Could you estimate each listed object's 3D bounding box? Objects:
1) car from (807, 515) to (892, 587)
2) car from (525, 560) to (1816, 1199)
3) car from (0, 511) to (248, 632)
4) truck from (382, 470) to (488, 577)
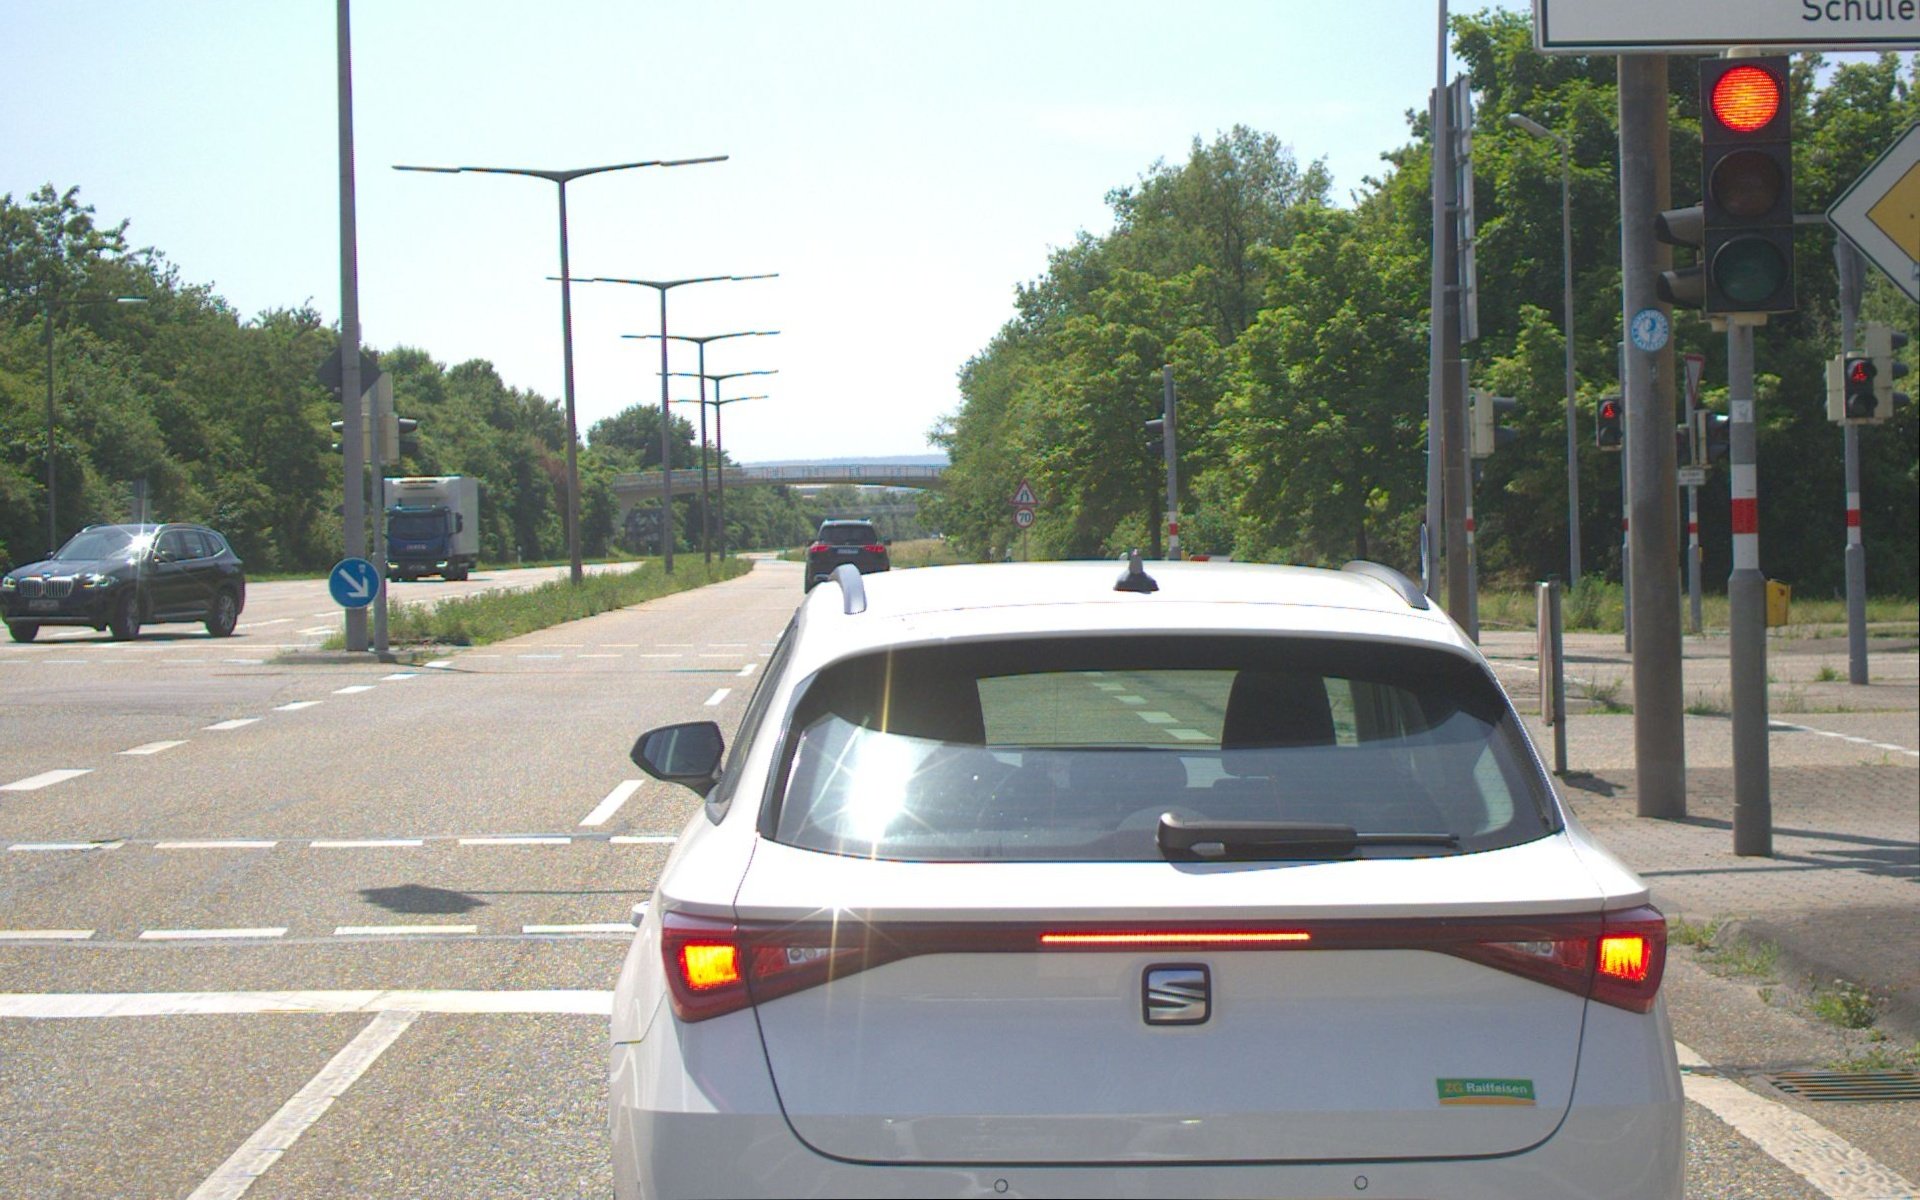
[{"bbox_3d":[-2.694,-1.223,84.542,1.855,1.703,4.000,-1,1,1],"label":"car"},{"bbox_3d":[0.261,0.651,6.498,1.734,1.423,3.695,1,1,-1],"label":"car"},{"bbox_3d":[-12.172,-0.448,50.289,1.708,1.657,4.220,-1,1,15],"label":"car"},{"bbox_3d":[-18.139,-2.665,119.210,2.687,3.558,7.268,0,1,-1],"label":"truck"}]
